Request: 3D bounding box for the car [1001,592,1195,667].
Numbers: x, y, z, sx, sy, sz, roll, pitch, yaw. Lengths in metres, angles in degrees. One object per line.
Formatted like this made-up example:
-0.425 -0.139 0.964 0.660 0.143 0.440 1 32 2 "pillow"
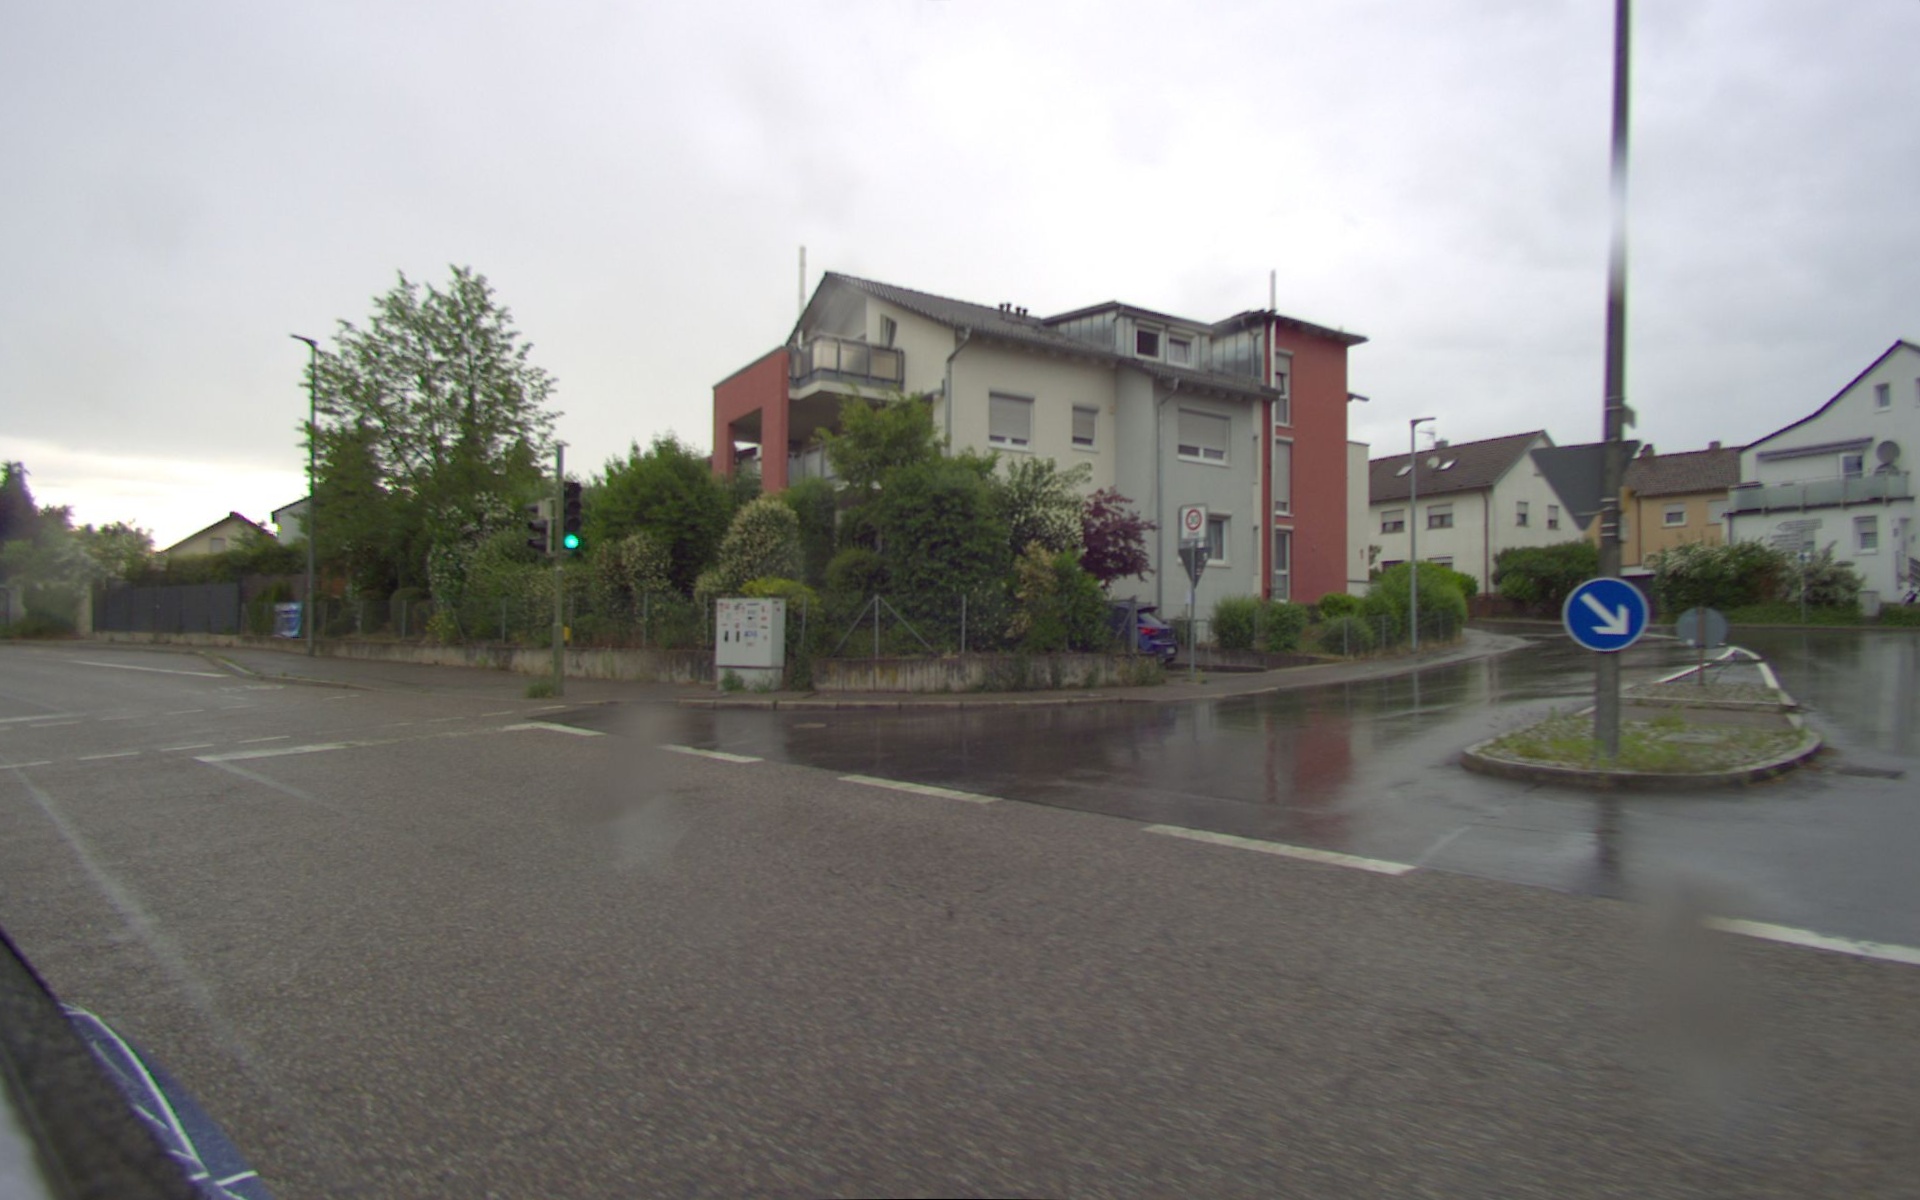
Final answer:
2.857 0.592 21.051 3.612 1.432 1.759 0 -1 30 "car"
